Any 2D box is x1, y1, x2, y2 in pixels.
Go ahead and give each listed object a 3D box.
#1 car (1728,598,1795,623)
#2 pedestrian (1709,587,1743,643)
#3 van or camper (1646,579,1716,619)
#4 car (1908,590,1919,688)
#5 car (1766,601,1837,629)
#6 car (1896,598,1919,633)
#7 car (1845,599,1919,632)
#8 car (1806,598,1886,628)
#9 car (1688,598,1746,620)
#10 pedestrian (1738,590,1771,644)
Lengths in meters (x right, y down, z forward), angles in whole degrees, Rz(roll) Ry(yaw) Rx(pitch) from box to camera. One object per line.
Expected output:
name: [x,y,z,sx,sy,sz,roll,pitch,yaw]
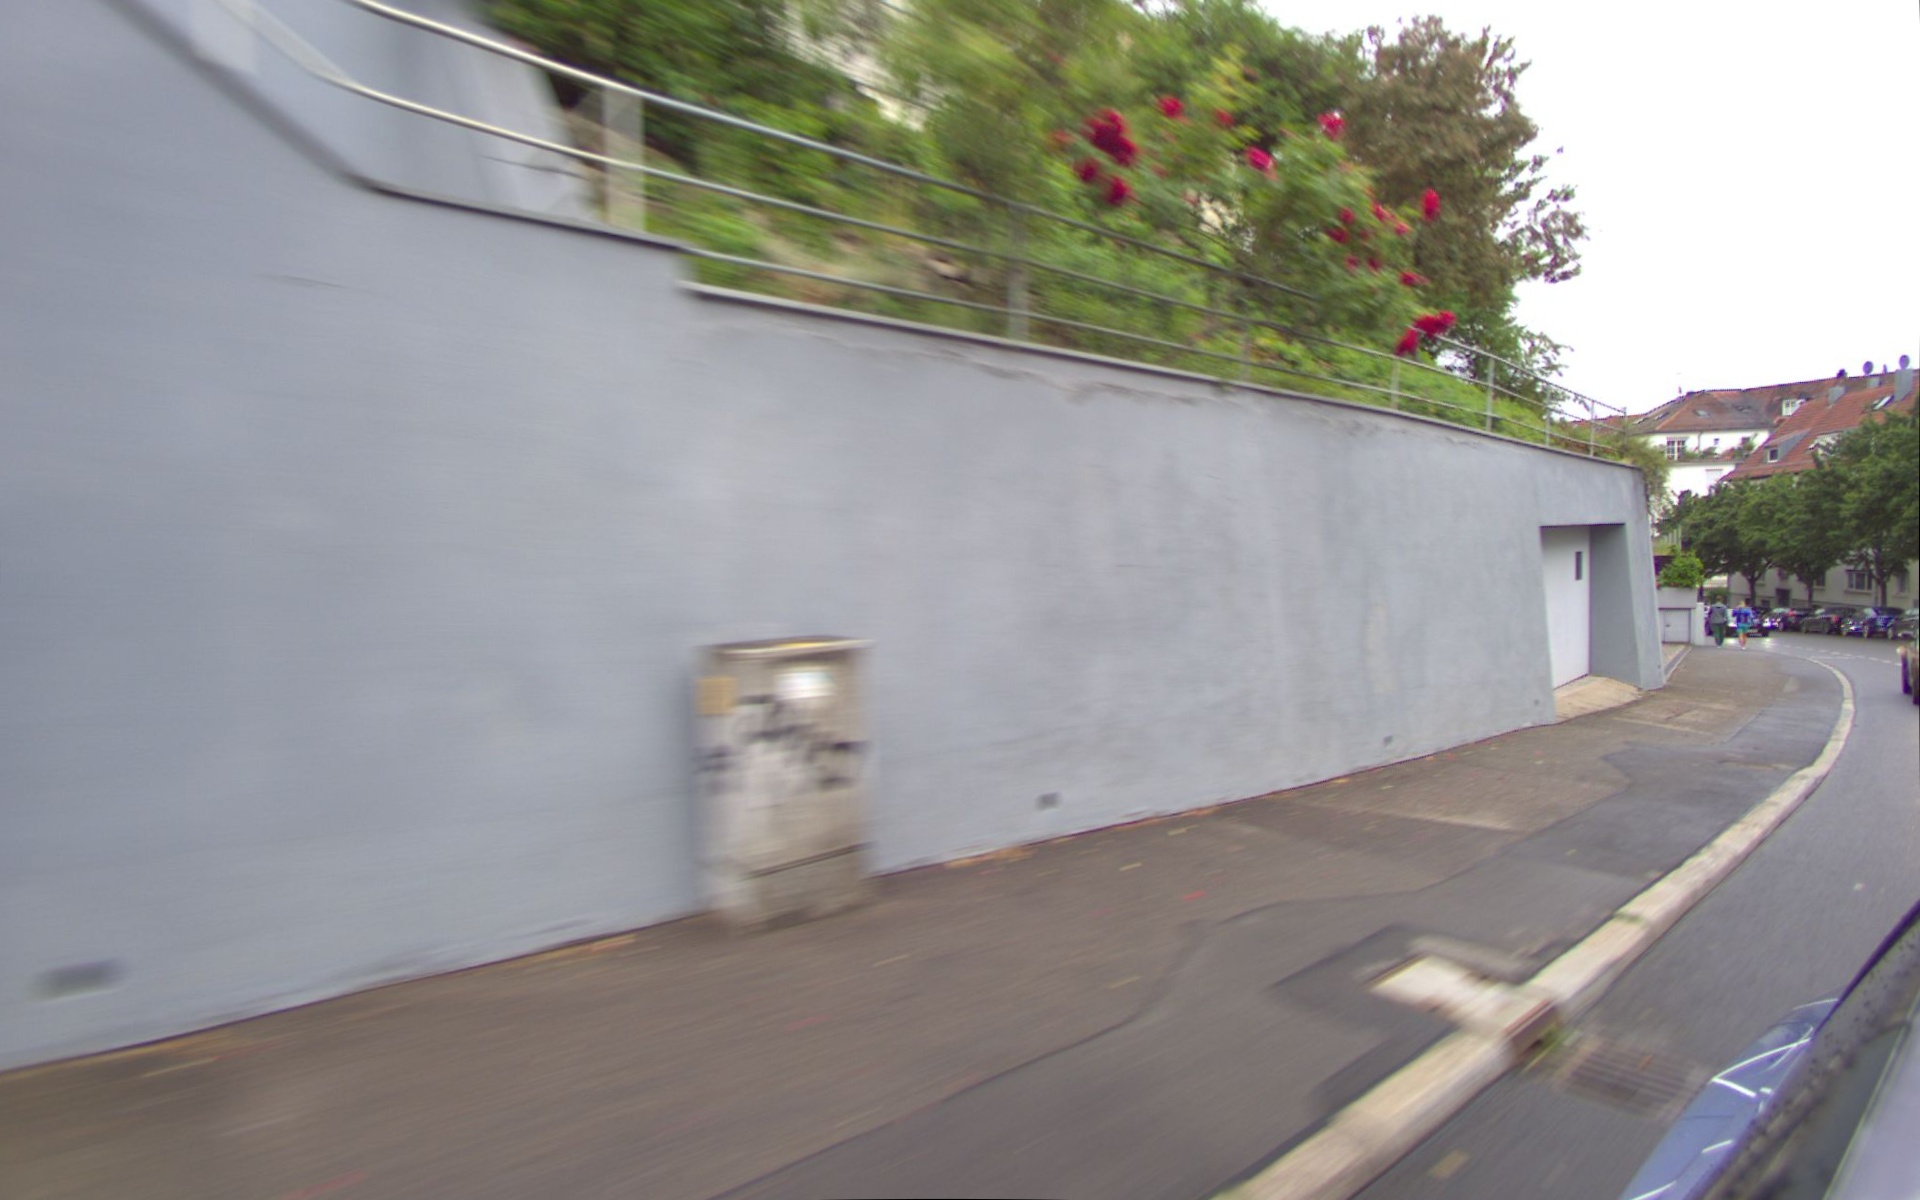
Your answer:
car: [50.680,0.636,64.111,1.768,1.512,4.475,0,0,16]
pedestrian: [26.554,0.518,35.111,0.773,1.855,1.236,3,1,33]
van or camper: [53.477,-0.080,75.208,2.041,2.896,5.727,0,0,12]
car: [15.551,0.601,15.229,1.692,1.483,3.940,-5,-1,42]
car: [48.836,0.846,58.837,1.771,1.512,4.611,-2,-1,21]
car: [42.219,0.673,43.350,1.773,1.512,4.325,-1,0,24]
car: [44.821,0.709,48.956,1.775,1.512,4.817,-1,0,26]
car: [46.990,0.672,53.762,1.771,1.512,4.330,-1,0,21]
car: [52.075,0.602,69.697,1.566,1.428,4.034,-1,0,11]
pedestrian: [27.224,0.560,34.692,0.772,1.780,0.999,2,2,34]
